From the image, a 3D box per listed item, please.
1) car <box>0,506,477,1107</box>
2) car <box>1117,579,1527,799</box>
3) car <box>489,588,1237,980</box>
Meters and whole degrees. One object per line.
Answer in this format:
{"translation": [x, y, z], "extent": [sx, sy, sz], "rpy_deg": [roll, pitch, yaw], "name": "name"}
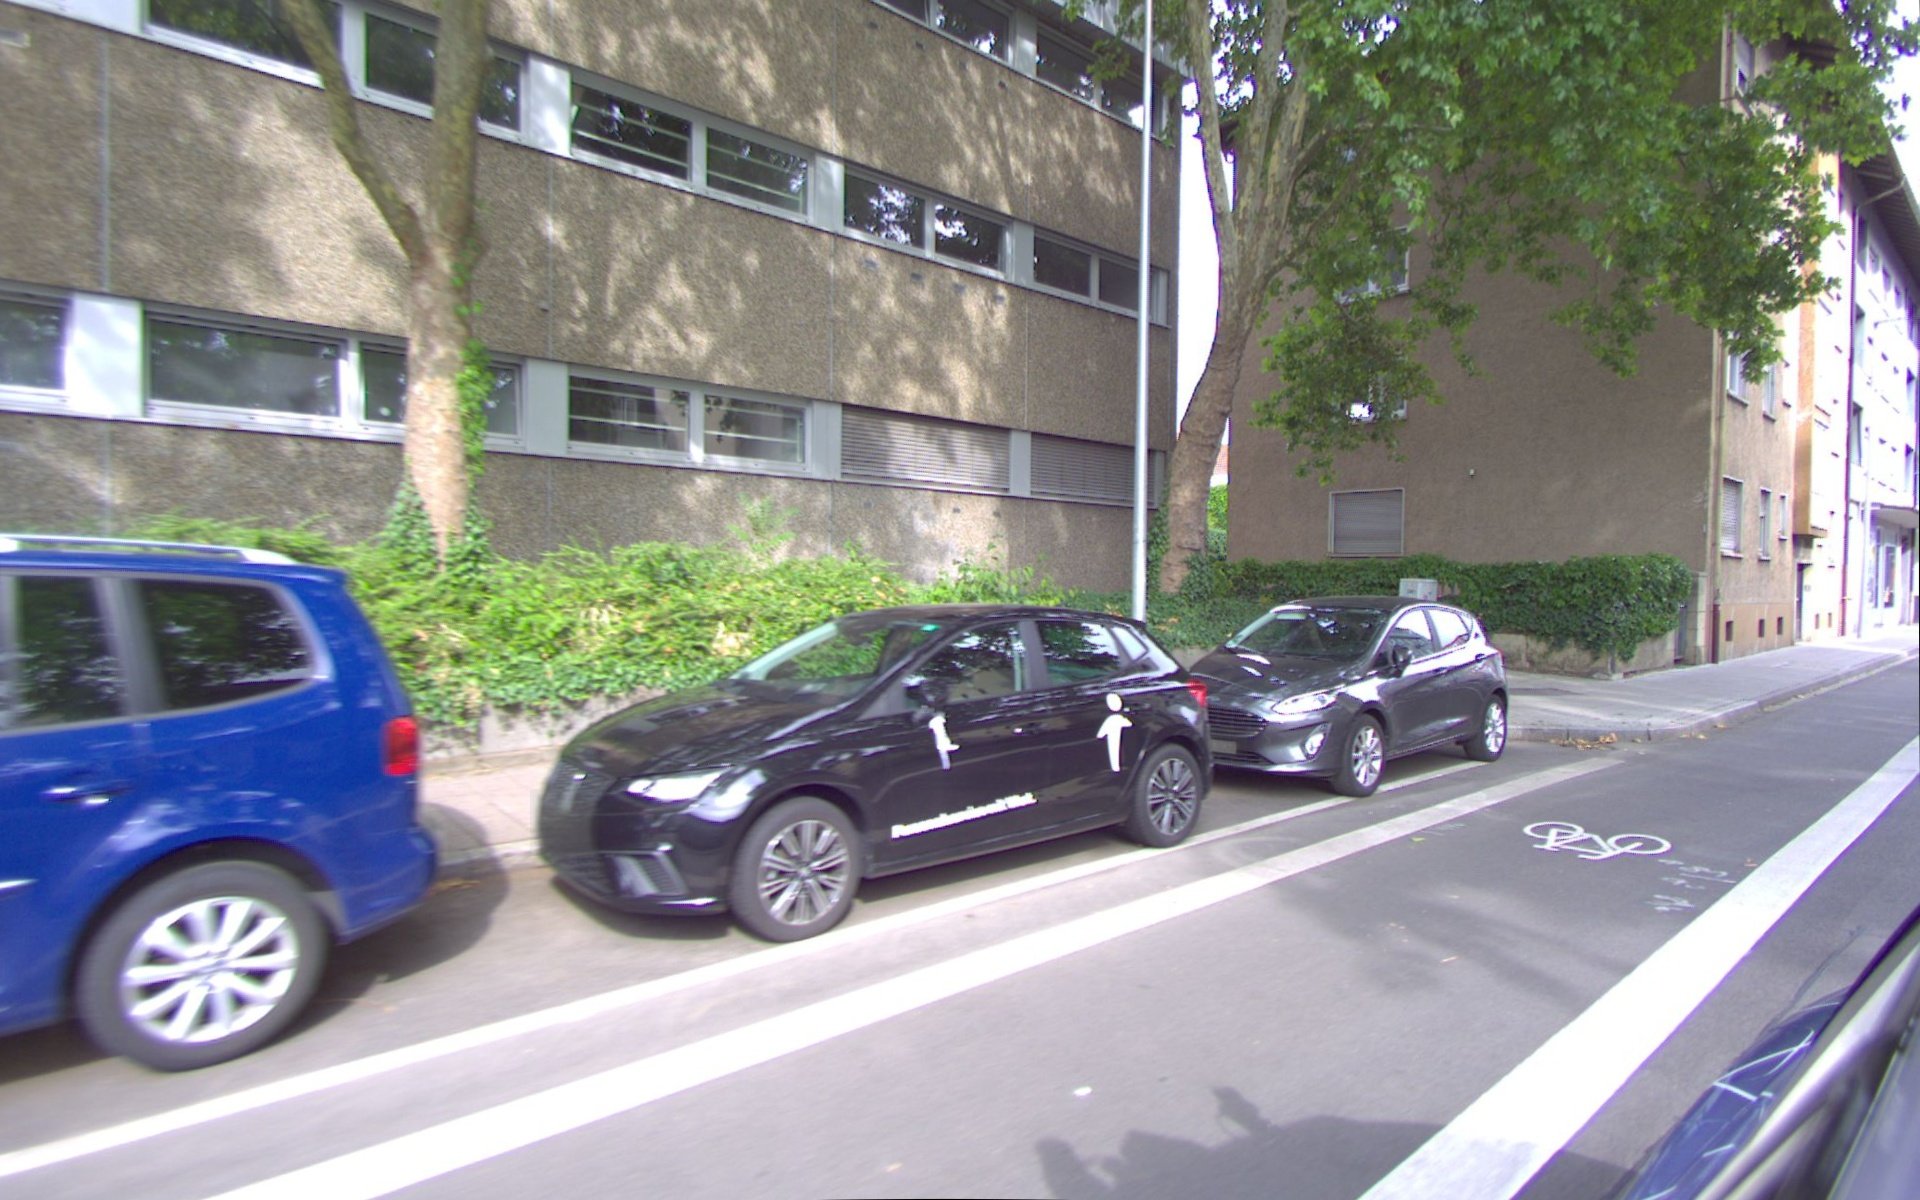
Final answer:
{"translation": [-3.891, 0.578, 2.787], "extent": [4.347, 1.671, 1.659], "rpy_deg": [-1, 1, -44], "name": "car"}
{"translation": [3.225, 0.592, 8.659], "extent": [3.799, 1.439, 1.661], "rpy_deg": [0, 1, -41], "name": "car"}
{"translation": [-0.321, 0.668, 5.605], "extent": [3.876, 1.440, 1.661], "rpy_deg": [0, 0, -39], "name": "car"}
